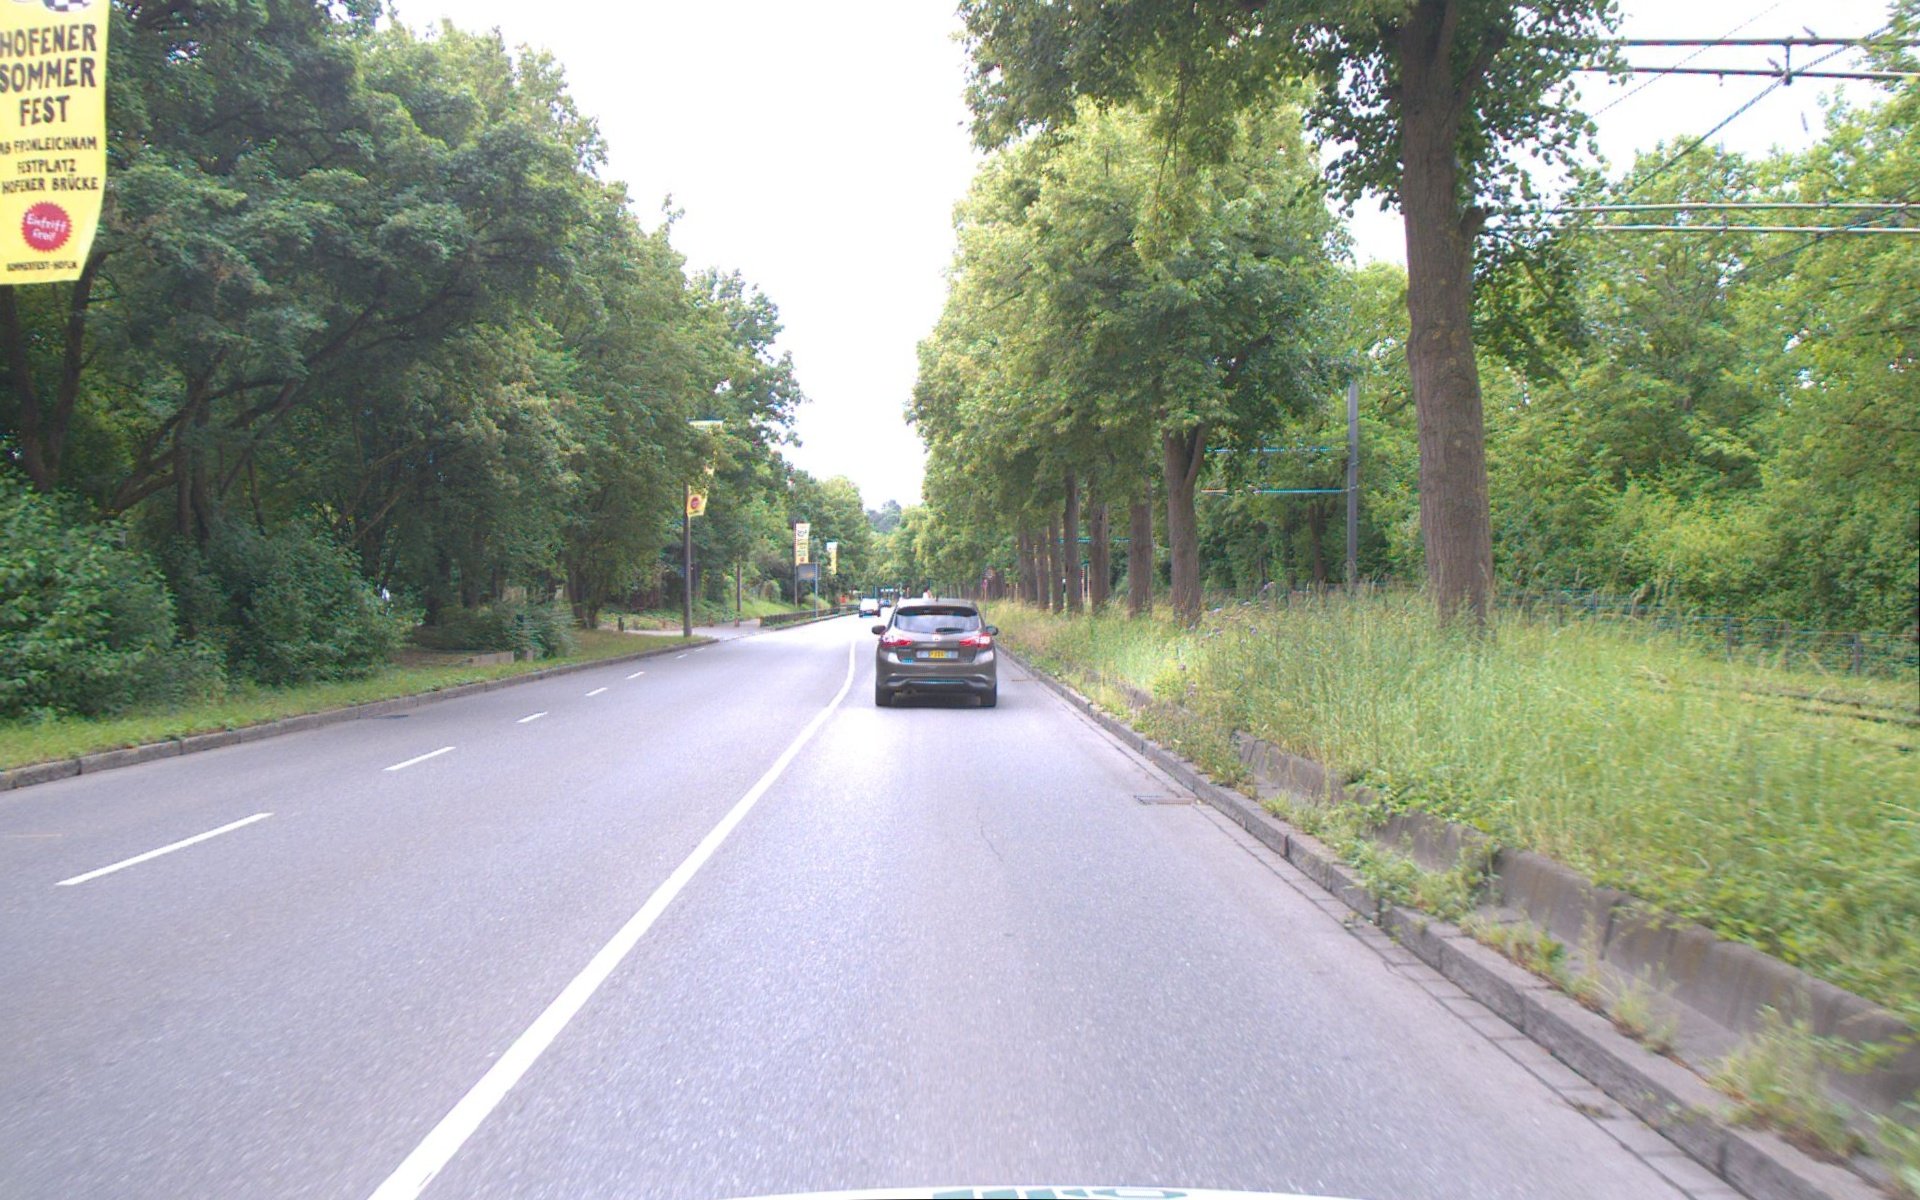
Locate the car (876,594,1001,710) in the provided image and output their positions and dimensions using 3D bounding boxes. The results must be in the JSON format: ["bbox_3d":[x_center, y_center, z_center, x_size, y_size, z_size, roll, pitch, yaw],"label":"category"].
[{"bbox_3d":[-0.351,0.726,24.582,1.695,1.564,3.550,1,0,-2],"label":"car"}]

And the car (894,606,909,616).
[{"bbox_3d":[-8.427,1.567,238.902,1.535,1.466,3.539,1,0,-14],"label":"car"}]

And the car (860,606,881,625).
[{"bbox_3d":[-7.360,1.258,135.516,1.682,1.453,4.194,-2,0,-3],"label":"car"}]

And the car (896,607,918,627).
[{"bbox_3d":[-4.136,1.317,128.865,1.529,1.466,3.552,1,0,0],"label":"car"}]

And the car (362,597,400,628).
[{"bbox_3d":[-25.110,0.521,71.722,1.352,1.260,3.049,3,-1,-23],"label":"car"}]
